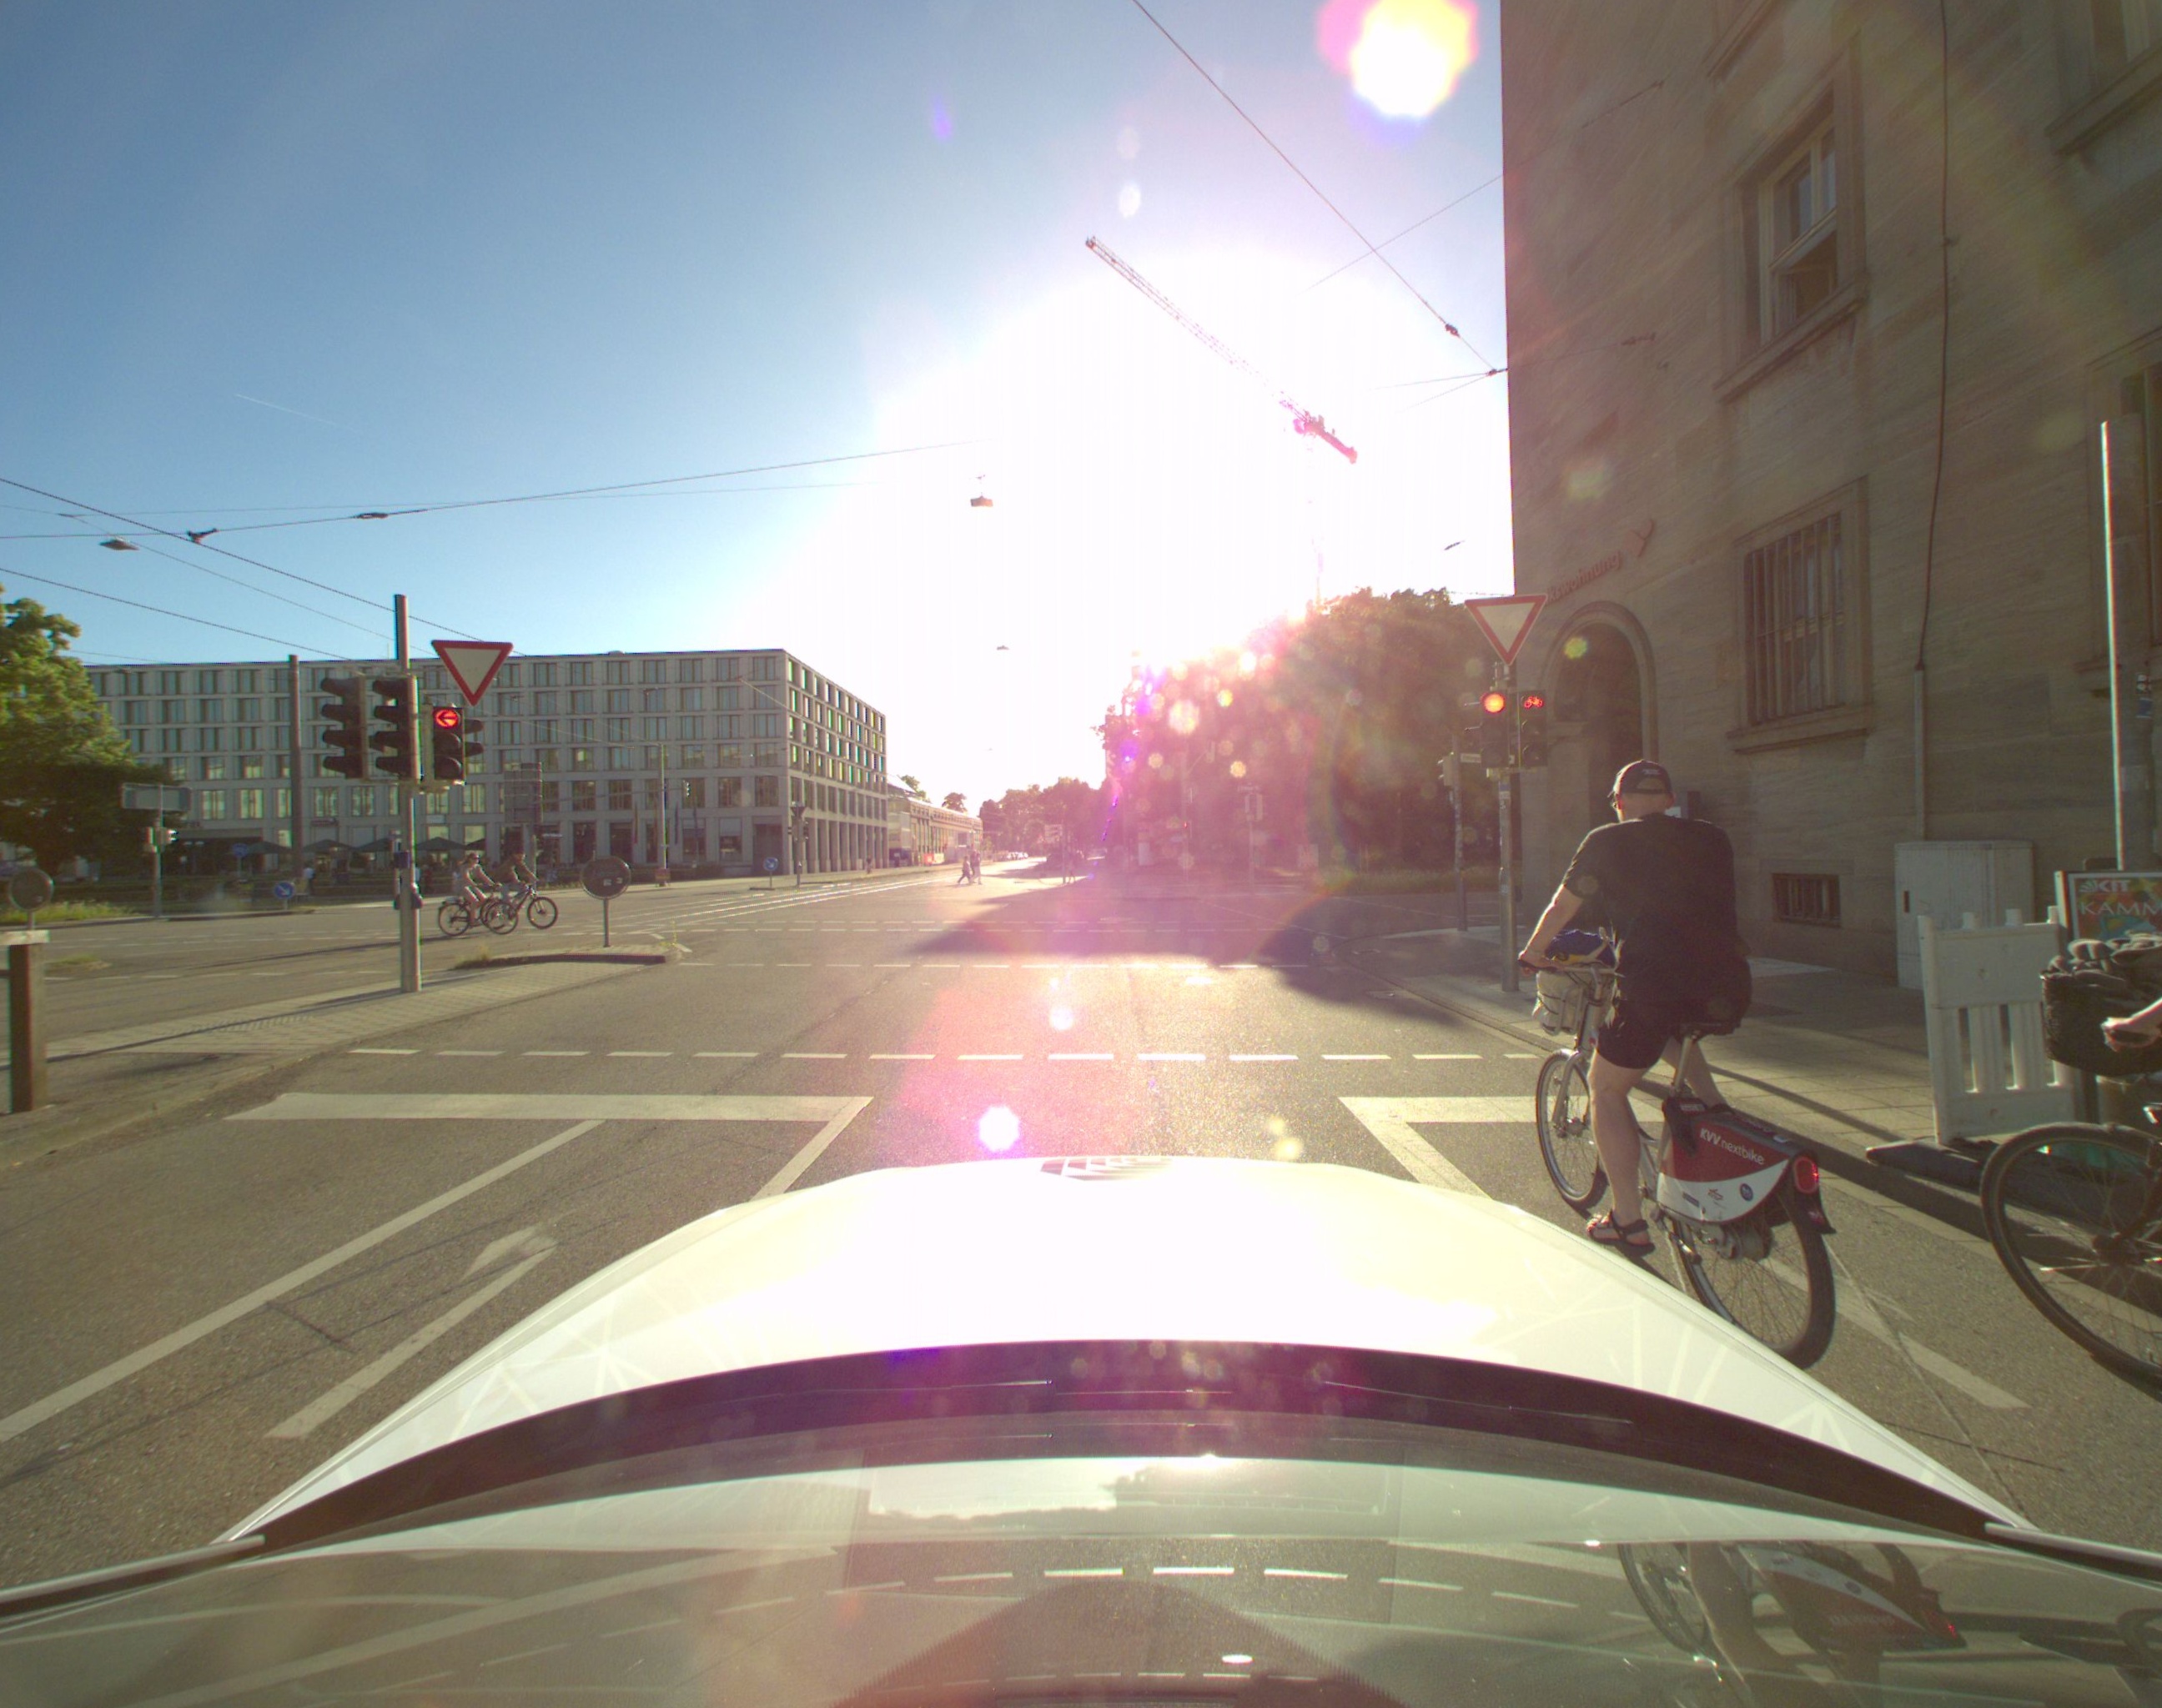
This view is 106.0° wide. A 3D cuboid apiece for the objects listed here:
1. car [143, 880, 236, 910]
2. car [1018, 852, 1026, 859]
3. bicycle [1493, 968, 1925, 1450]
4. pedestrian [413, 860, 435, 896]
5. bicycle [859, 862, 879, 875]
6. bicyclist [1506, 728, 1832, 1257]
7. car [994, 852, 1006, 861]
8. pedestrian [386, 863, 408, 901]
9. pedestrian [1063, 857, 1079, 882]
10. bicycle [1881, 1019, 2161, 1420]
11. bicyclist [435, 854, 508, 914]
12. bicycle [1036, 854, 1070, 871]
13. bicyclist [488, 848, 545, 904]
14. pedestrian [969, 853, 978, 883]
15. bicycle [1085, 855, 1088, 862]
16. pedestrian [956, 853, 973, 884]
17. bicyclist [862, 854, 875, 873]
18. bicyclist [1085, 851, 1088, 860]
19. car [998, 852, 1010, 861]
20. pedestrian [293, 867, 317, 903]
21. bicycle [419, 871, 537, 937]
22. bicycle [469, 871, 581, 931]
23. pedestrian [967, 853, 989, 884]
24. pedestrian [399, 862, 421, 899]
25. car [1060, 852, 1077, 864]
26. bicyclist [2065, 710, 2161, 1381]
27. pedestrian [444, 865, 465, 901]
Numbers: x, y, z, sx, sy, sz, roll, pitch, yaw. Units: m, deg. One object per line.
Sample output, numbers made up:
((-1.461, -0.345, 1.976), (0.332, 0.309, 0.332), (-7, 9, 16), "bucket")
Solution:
((-46.819, 2.149, 42.807), (3.176, 1.438, 1.470), (-2, 0, -2), "car")
((-14.054, 0.337, 194.493), (1.478, 1.750, 4.002), (-2, 0, 2), "car")
((2.046, 1.013, 2.997), (0.387, 0.905, 1.956), (-2, 0, 10), "bicycle")
((-36.976, 1.344, 45.844), (0.528, 2.013, 0.800), (-2, 0, -5), "pedestrian")
((-18.988, 1.306, 73.005), (0.872, 1.121, 3.015), (-2, 0, 3), "bicycle")
((2.046, 0.448, 2.933), (0.667, 1.678, 0.657), (-2, 0, 4), "bicyclist")
((-15.547, 0.527, 156.553), (1.724, 1.653, 4.002), (-2, 0, 2), "car")
((-36.963, 1.481, 44.013), (0.528, 2.013, 0.800), (-2, 0, -5), "pedestrian")
((-0.535, 0.849, 44.487), (0.749, 1.332, 0.743), (-2, 0, 3), "pedestrian")
((2.995, 1.028, 1.911), (0.424, 0.876, 1.953), (-2, 0, 5), "bicycle")
((-12.964, 0.627, 17.339), (0.922, 1.218, 0.796), (-2, 0, -1), "bicyclist")
((-2.321, 0.731, 67.364), (2.728, 1.367, 0.633), (-1, -1, 12), "bicycle")
((-12.944, 0.495, 18.682), (0.718, 1.218, 0.798), (-2, 0, 1), "bicyclist")
((-5.992, 0.788, 45.376), (0.440, 1.662, 0.376), (-2, 0, 1), "pedestrian")
((0.716, 0.513, 99.300), (0.323, 0.868, 1.484), (-2, 0, 2), "bicycle")
((-6.257, 0.765, 43.816), (0.792, 1.639, 0.534), (-2, 0, 4), "pedestrian")
((-18.998, 0.871, 72.808), (0.872, 1.641, 0.822), (-2, 0, 3), "bicyclist")
((0.698, 0.146, 99.230), (0.317, 1.127, 0.291), (-2, 0, 1), "bicyclist")
((-15.211, 0.491, 160.669), (1.724, 1.653, 4.002), (-2, 0, 2), "car")
((-42.043, 1.651, 44.125), (0.557, 1.903, 0.684), (-2, 0, 10), "pedestrian")
((-12.818, 1.049, 17.350), (1.846, 1.291, 0.791), (-2, 0, -2), "bicycle")
((-12.724, 1.064, 18.674), (1.979, 1.291, 0.792), (-2, 0, 0), "bicycle")
((-5.479, 0.779, 43.404), (0.980, 1.587, 0.661), (-2, -1, 3), "pedestrian")
((-36.999, 1.440, 44.892), (0.528, 2.013, 0.800), (-2, 0, -5), "pedestrian")
((-1.343, 0.441, 91.912), (1.814, 1.279, 3.999), (-2, 0, 0), "car")
((2.930, 0.478, 1.769), (0.519, 1.679, 0.860), (-2, 0, 5), "bicyclist")
((-35.445, 1.632, 46.089), (0.528, 2.013, 0.800), (-2, 0, -5), "pedestrian")
